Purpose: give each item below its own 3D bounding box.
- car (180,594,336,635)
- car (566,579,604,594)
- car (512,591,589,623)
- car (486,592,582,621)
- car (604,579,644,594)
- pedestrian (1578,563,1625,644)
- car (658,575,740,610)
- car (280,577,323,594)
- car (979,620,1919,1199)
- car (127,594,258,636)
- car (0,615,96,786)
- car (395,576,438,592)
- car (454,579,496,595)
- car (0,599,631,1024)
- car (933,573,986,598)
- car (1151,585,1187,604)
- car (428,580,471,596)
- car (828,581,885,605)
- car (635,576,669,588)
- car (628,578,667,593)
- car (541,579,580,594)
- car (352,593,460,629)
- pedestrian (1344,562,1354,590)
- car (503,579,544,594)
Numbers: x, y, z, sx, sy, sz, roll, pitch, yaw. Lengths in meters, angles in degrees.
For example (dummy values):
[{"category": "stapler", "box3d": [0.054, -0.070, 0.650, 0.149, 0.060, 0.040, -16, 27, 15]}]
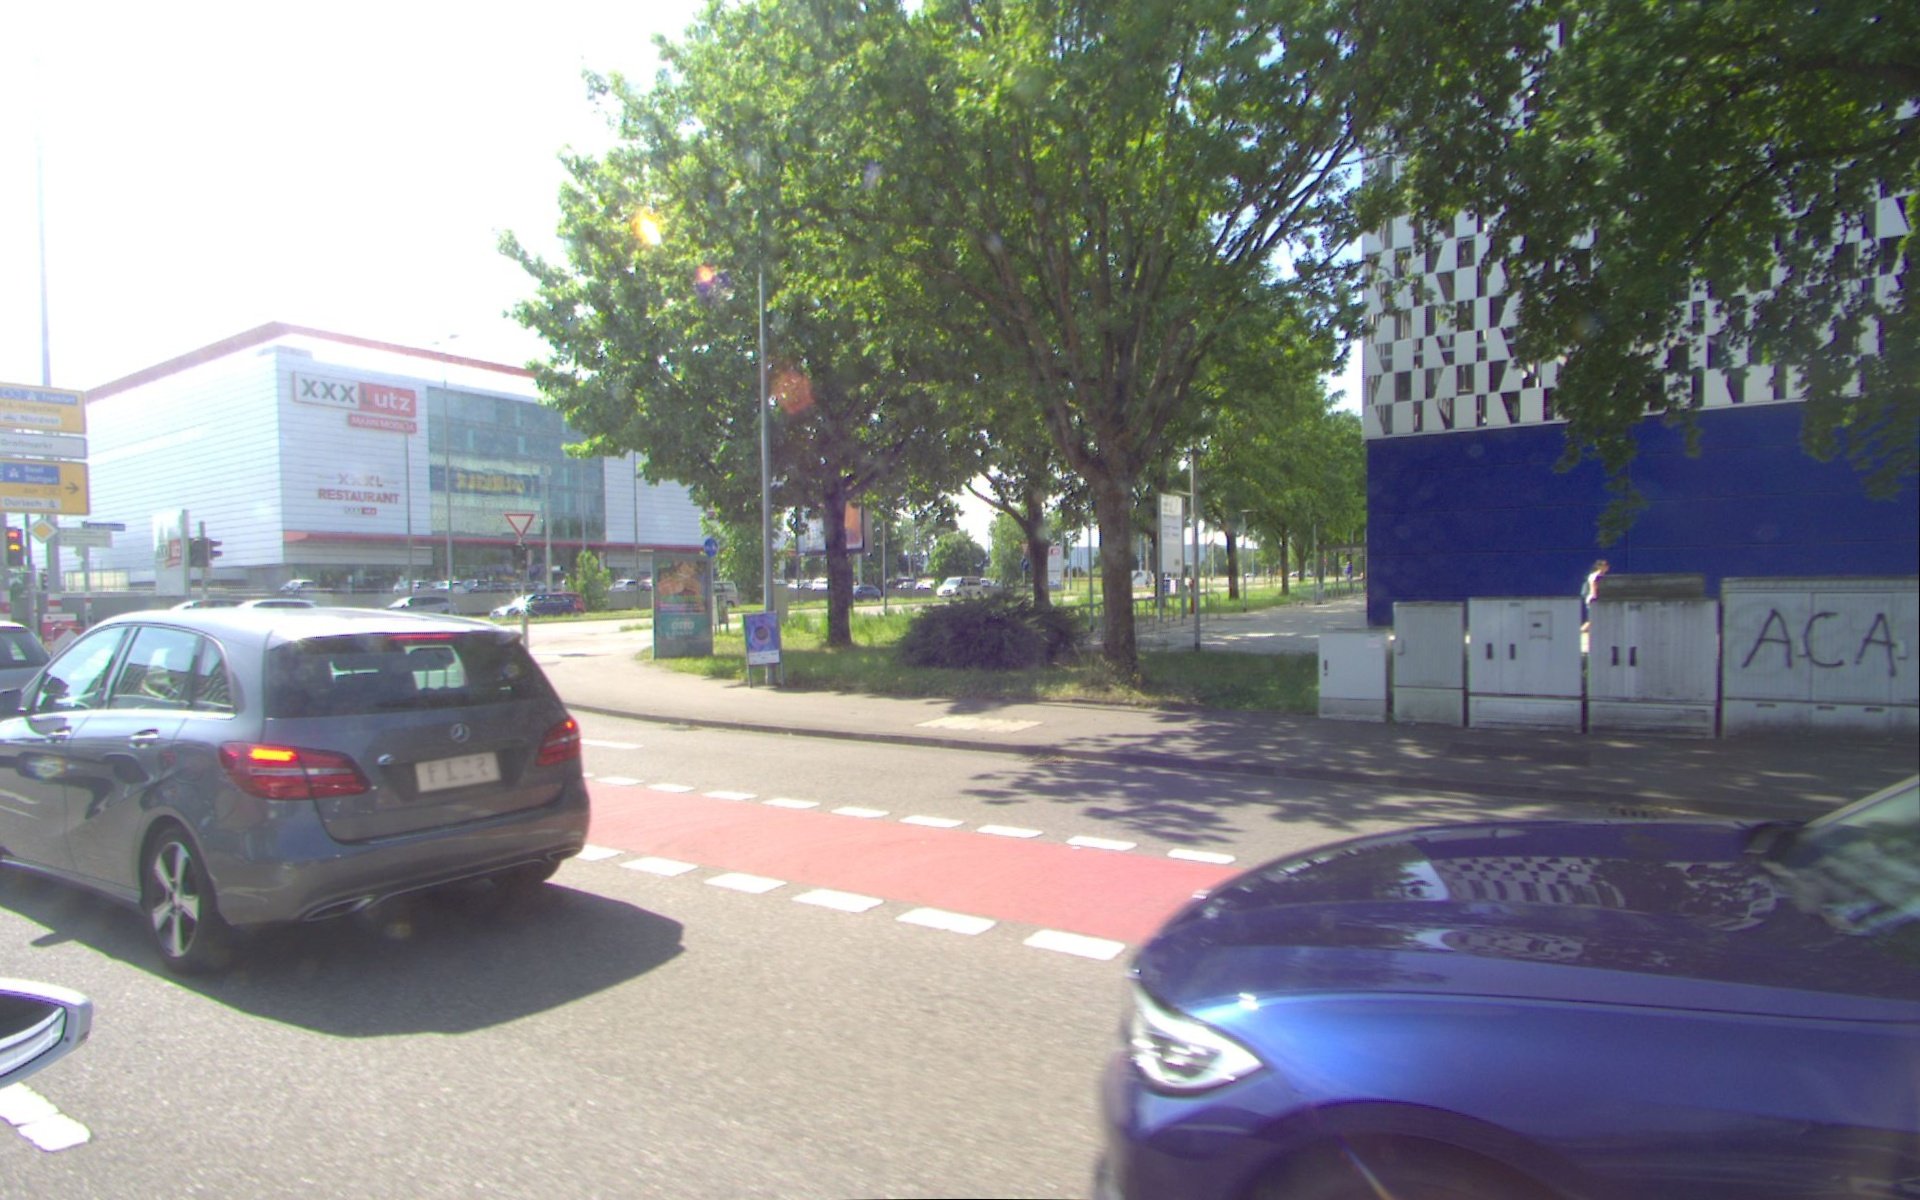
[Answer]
[{"category": "car", "box3d": [-27.953, 0.560, 40.033, 1.933, 1.444, 4.701, -1, 0, 35]}, {"category": "car", "box3d": [-39.610, -1.417, 105.727, 4.143, 1.439, 1.730, 0, 1, 35]}, {"category": "car", "box3d": [-21.699, 0.354, 53.113, 1.578, 1.597, 3.458, 0, 1, 36]}, {"category": "car", "box3d": [-20.934, 0.308, 49.327, 1.701, 1.360, 4.032, -1, 0, 35]}, {"category": "car", "box3d": [-33.102, -1.335, 98.545, 4.054, 1.439, 1.679, 0, 1, 35]}, {"category": "pedestrian", "box3d": [12.790, 0.068, 19.970, 0.769, 1.567, 0.677, 0, 2, 32]}, {"category": "car", "box3d": [-15.951, -0.488, 61.399, 1.937, 2.002, 4.658, -2, 0, 35]}, {"category": "car", "box3d": [-58.004, -1.278, 88.231, 4.143, 1.439, 1.765, 0, 1, 35]}, {"category": "car", "box3d": [2.396, 0.769, 1.471, 4.472, 1.448, 1.792, 0, 0, 32]}, {"category": "car", "box3d": [-31.105, 0.593, 40.679, 1.785, 1.579, 3.871, 0, 1, 36]}, {"category": "car", "box3d": [-9.740, 0.859, 9.226, 3.628, 1.433, 1.664, 0, 0, 31]}, {"category": "car", "box3d": [-49.708, -1.458, 91.560, 3.950, 1.439, 1.795, 0, 1, 32]}, {"category": "car", "box3d": [-46.604, -1.256, 96.144, 4.143, 1.439, 1.866, 0, 1, 35]}, {"category": "car", "box3d": [-3.897, 0.783, 5.519, 4.077, 1.559, 1.770, 0, 0, 32]}, {"category": "car", "box3d": [0.005, -1.242, 83.675, 1.890, 1.961, 4.756, -2, 0, 37]}, {"category": "car", "box3d": [17.779, -0.463, 85.129, 1.618, 1.556, 3.893, 0, 1, 34]}, {"category": "car", "box3d": [-47.624, -1.155, 93.471, 4.143, 1.439, 1.826, 0, 1, 35]}, {"category": "car", "box3d": [-7.319, -0.491, 71.212, 1.662, 1.642, 4.101, 0, 1, 37]}, {"category": "car", "box3d": [-37.488, -2.177, 121.800, 4.143, 1.439, 1.679, 0, 1, 35]}, {"category": "car", "box3d": [-31.355, -1.403, 100.402, 3.955, 1.439, 1.734, 0, 1, 35]}, {"category": "car", "box3d": [-41.433, -1.407, 103.897, 4.143, 1.439, 1.799, 0, 1, 35]}, {"category": "car", "box3d": [-26.107, 0.484, 47.302, 1.883, 1.529, 4.015, -1, 1, 35]}, {"category": "pedestrian", "box3d": [29.143, -1.764, 75.043, 0.670, 2.039, 0.600, 0, -1, 18]}, {"category": "car", "box3d": [-43.624, -1.369, 100.061, 4.143, 1.439, 1.894, 0, 1, 35]}]
